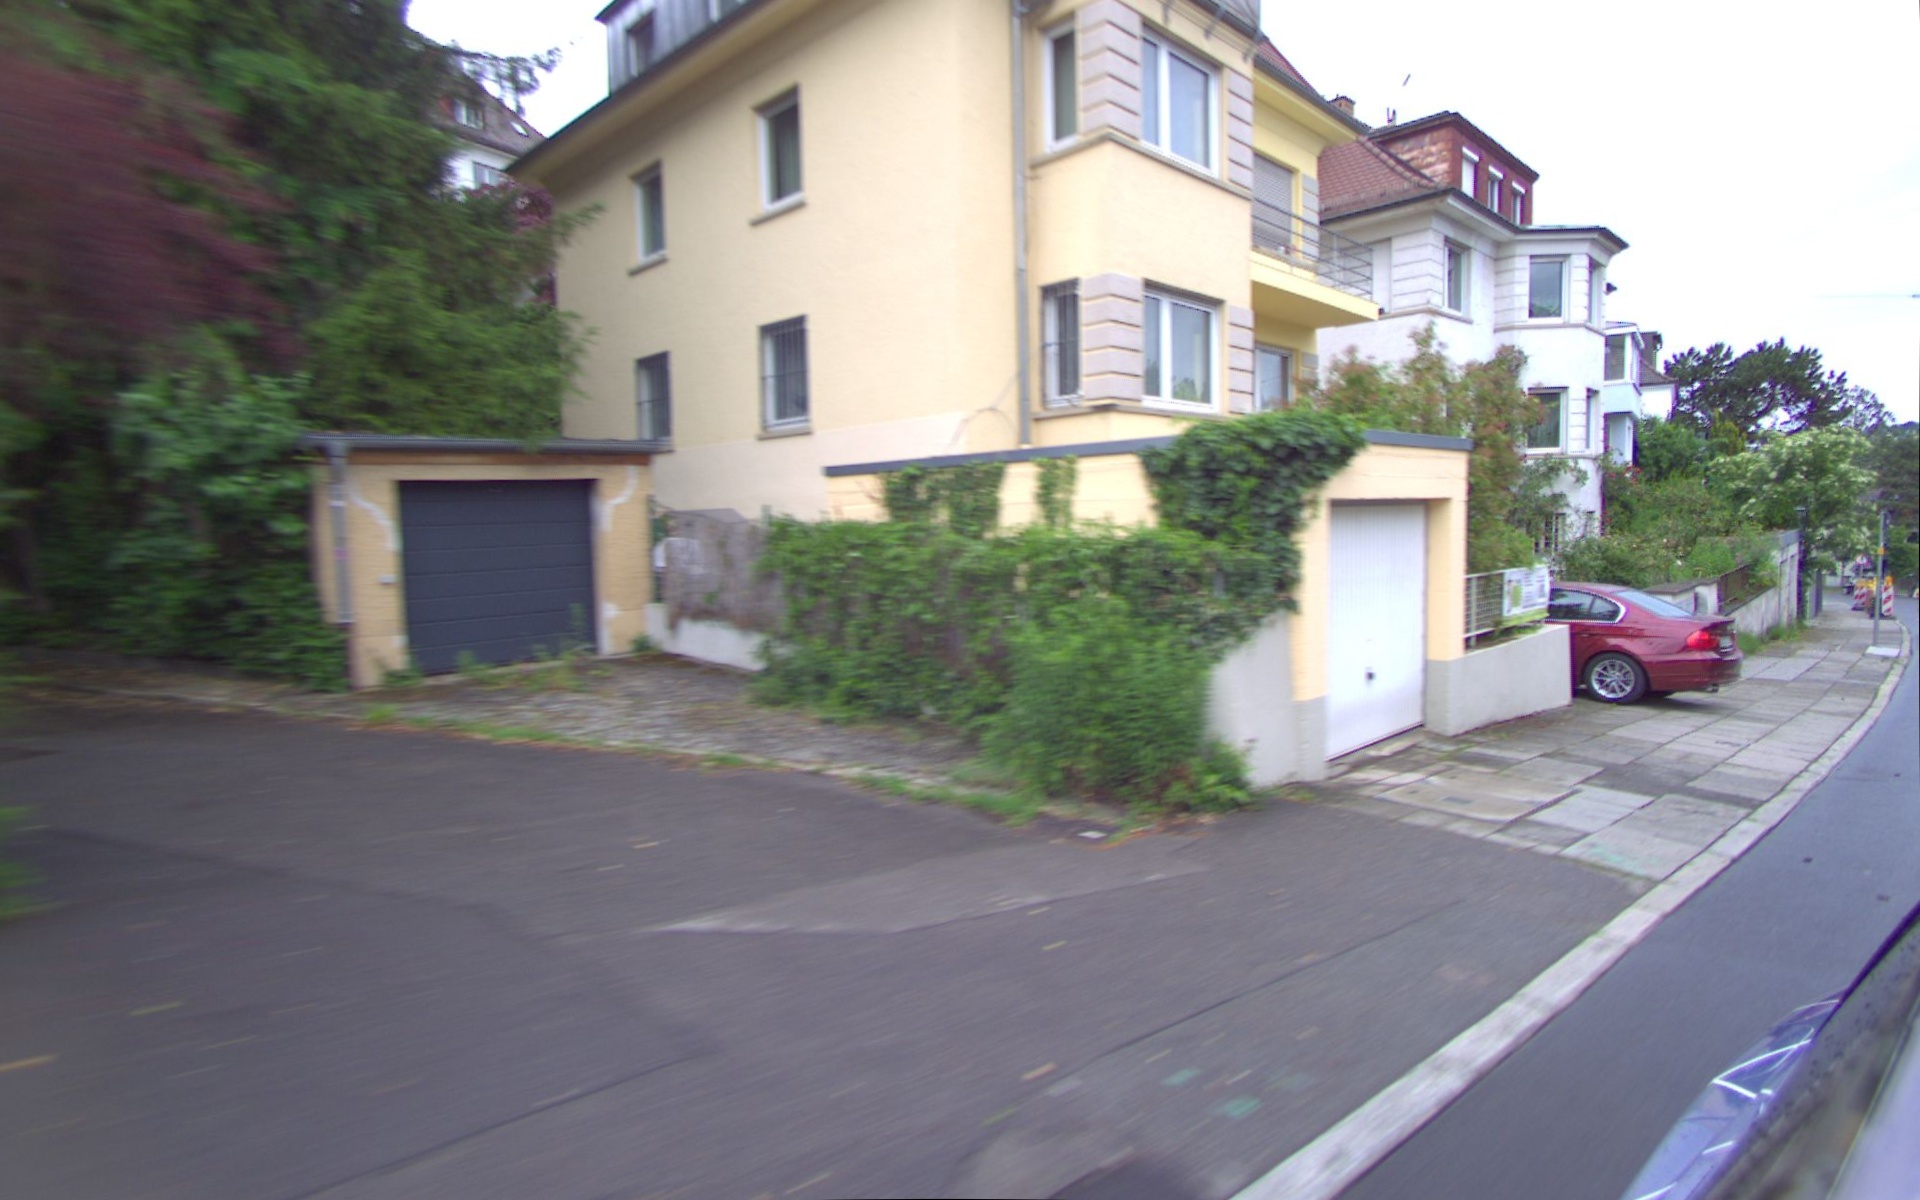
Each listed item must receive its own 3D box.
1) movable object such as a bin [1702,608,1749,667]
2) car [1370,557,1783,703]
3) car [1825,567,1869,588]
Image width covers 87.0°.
[{"bbox_3d":[12.603,0.605,16.653,0.569,0.911,0.518,1,1,43],"label":"movable object such as a bin"},{"bbox_3d":[7.775,0.250,13.114,1.801,1.423,4.181,0,4,-40],"label":"car"},{"bbox_3d":[85.170,-2.168,97.272,1.978,1.738,3.966,-3,-3,24],"label":"car"}]
